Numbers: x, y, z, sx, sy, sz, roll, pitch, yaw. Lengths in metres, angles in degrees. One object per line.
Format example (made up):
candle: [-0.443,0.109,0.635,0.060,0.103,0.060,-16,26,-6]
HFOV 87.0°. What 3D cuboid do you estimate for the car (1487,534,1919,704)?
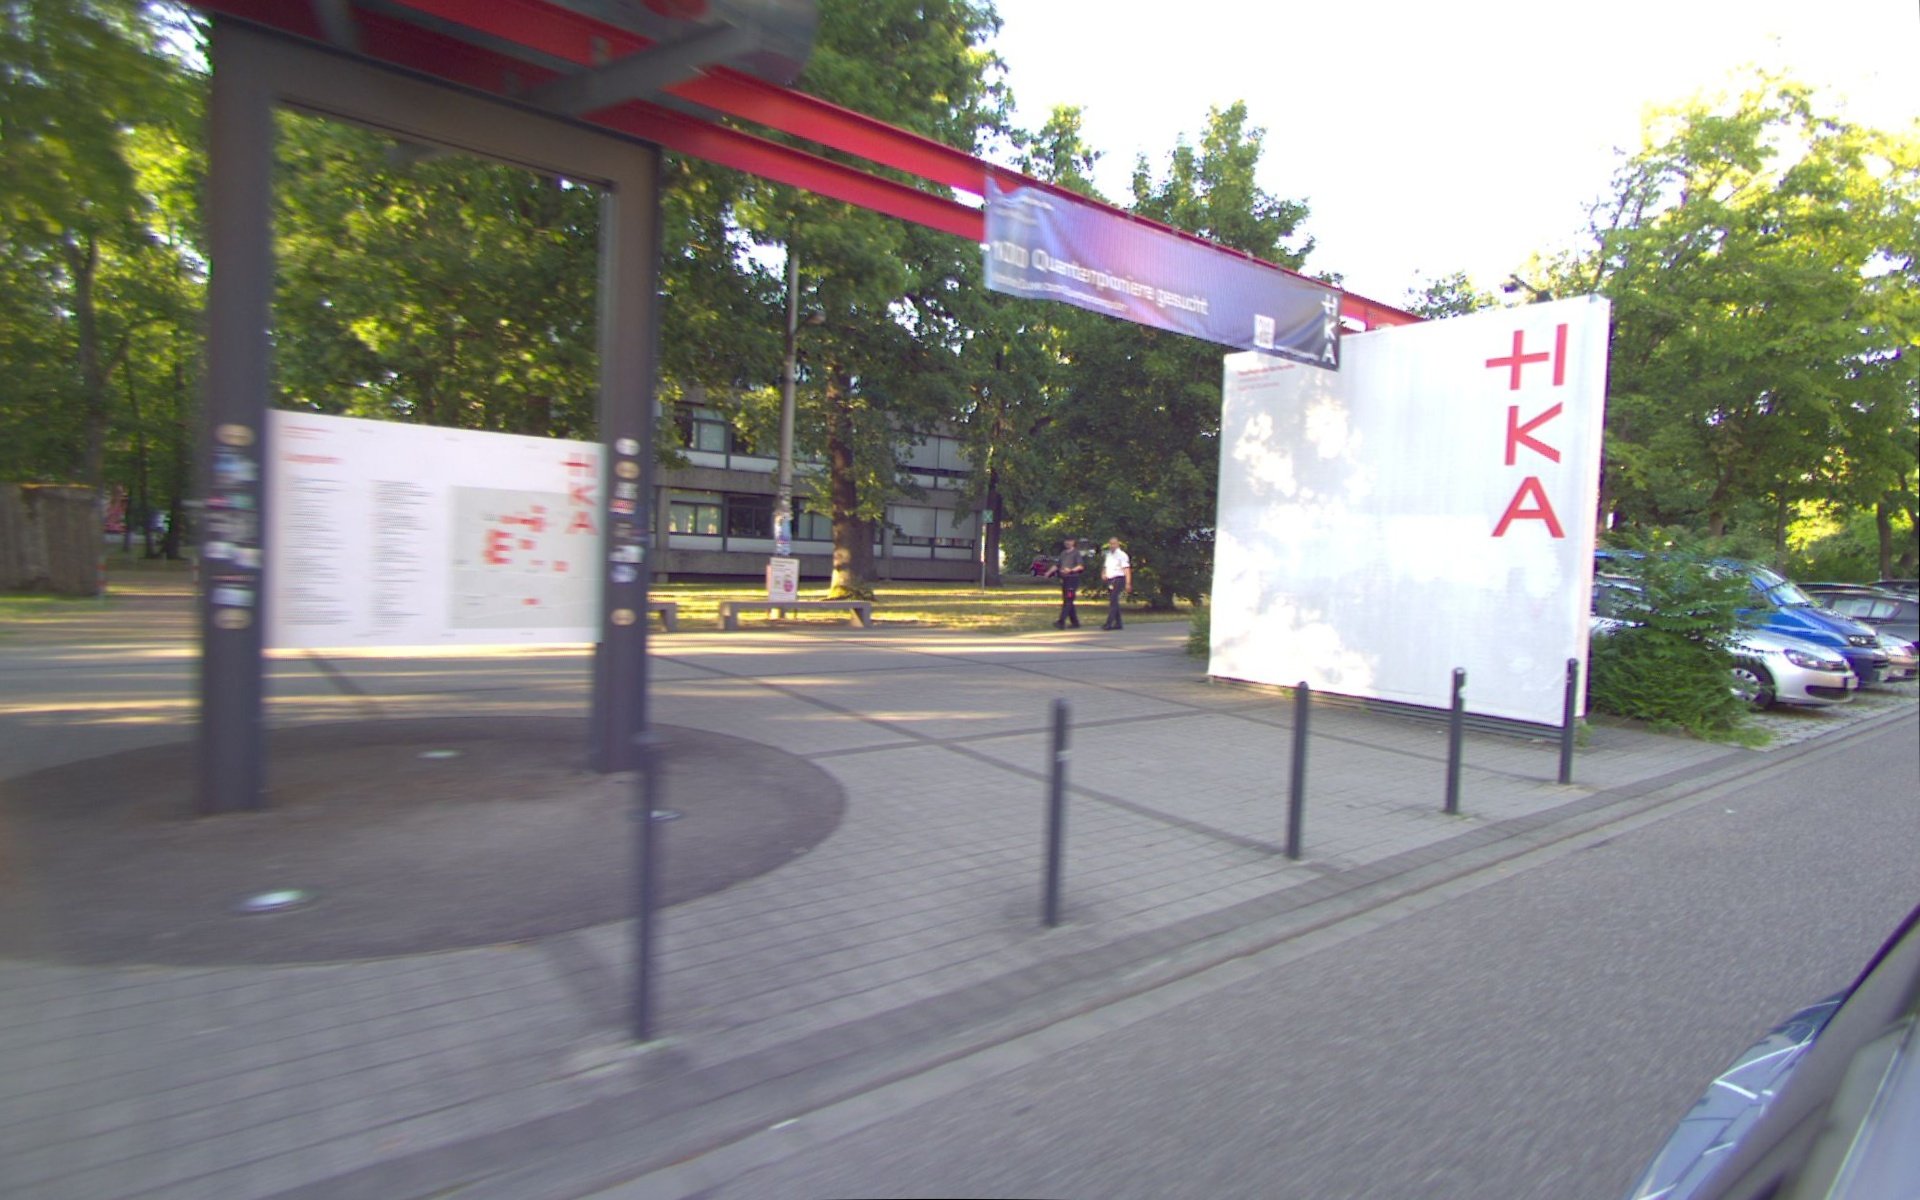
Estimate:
car: [10.889,0.119,15.174,1.881,1.938,4.868,0,5,-38]

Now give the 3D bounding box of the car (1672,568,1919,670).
car: [16.716,0.317,19.566,1.886,1.555,4.377,0,5,-38]

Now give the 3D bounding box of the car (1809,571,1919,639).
car: [24.992,0.195,26.116,1.696,1.572,4.377,0,5,-38]

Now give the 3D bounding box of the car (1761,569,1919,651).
car: [21.119,0.259,22.858,1.842,1.572,4.377,0,5,-38]

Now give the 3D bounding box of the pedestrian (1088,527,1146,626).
pedestrian: [2.902,-0.441,18.747,0.772,1.794,0.665,1,2,-42]

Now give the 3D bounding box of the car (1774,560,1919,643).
car: [23.123,0.075,24.929,1.886,1.801,4.377,0,5,-38]

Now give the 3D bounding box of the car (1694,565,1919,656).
car: [18.773,0.176,21.796,1.886,1.555,4.377,0,5,-38]

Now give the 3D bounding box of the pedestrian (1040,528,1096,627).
pedestrian: [2.011,-0.424,18.878,0.777,1.794,0.648,0,2,-42]

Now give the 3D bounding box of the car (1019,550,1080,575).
car: [5.841,-2.462,66.630,1.705,1.495,3.999,0,3,-37]

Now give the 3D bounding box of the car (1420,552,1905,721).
car: [9.095,0.310,13.582,1.881,1.572,4.943,0,5,-38]

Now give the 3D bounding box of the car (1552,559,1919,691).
car: [12.913,0.281,16.769,1.881,1.572,4.943,0,5,-38]
